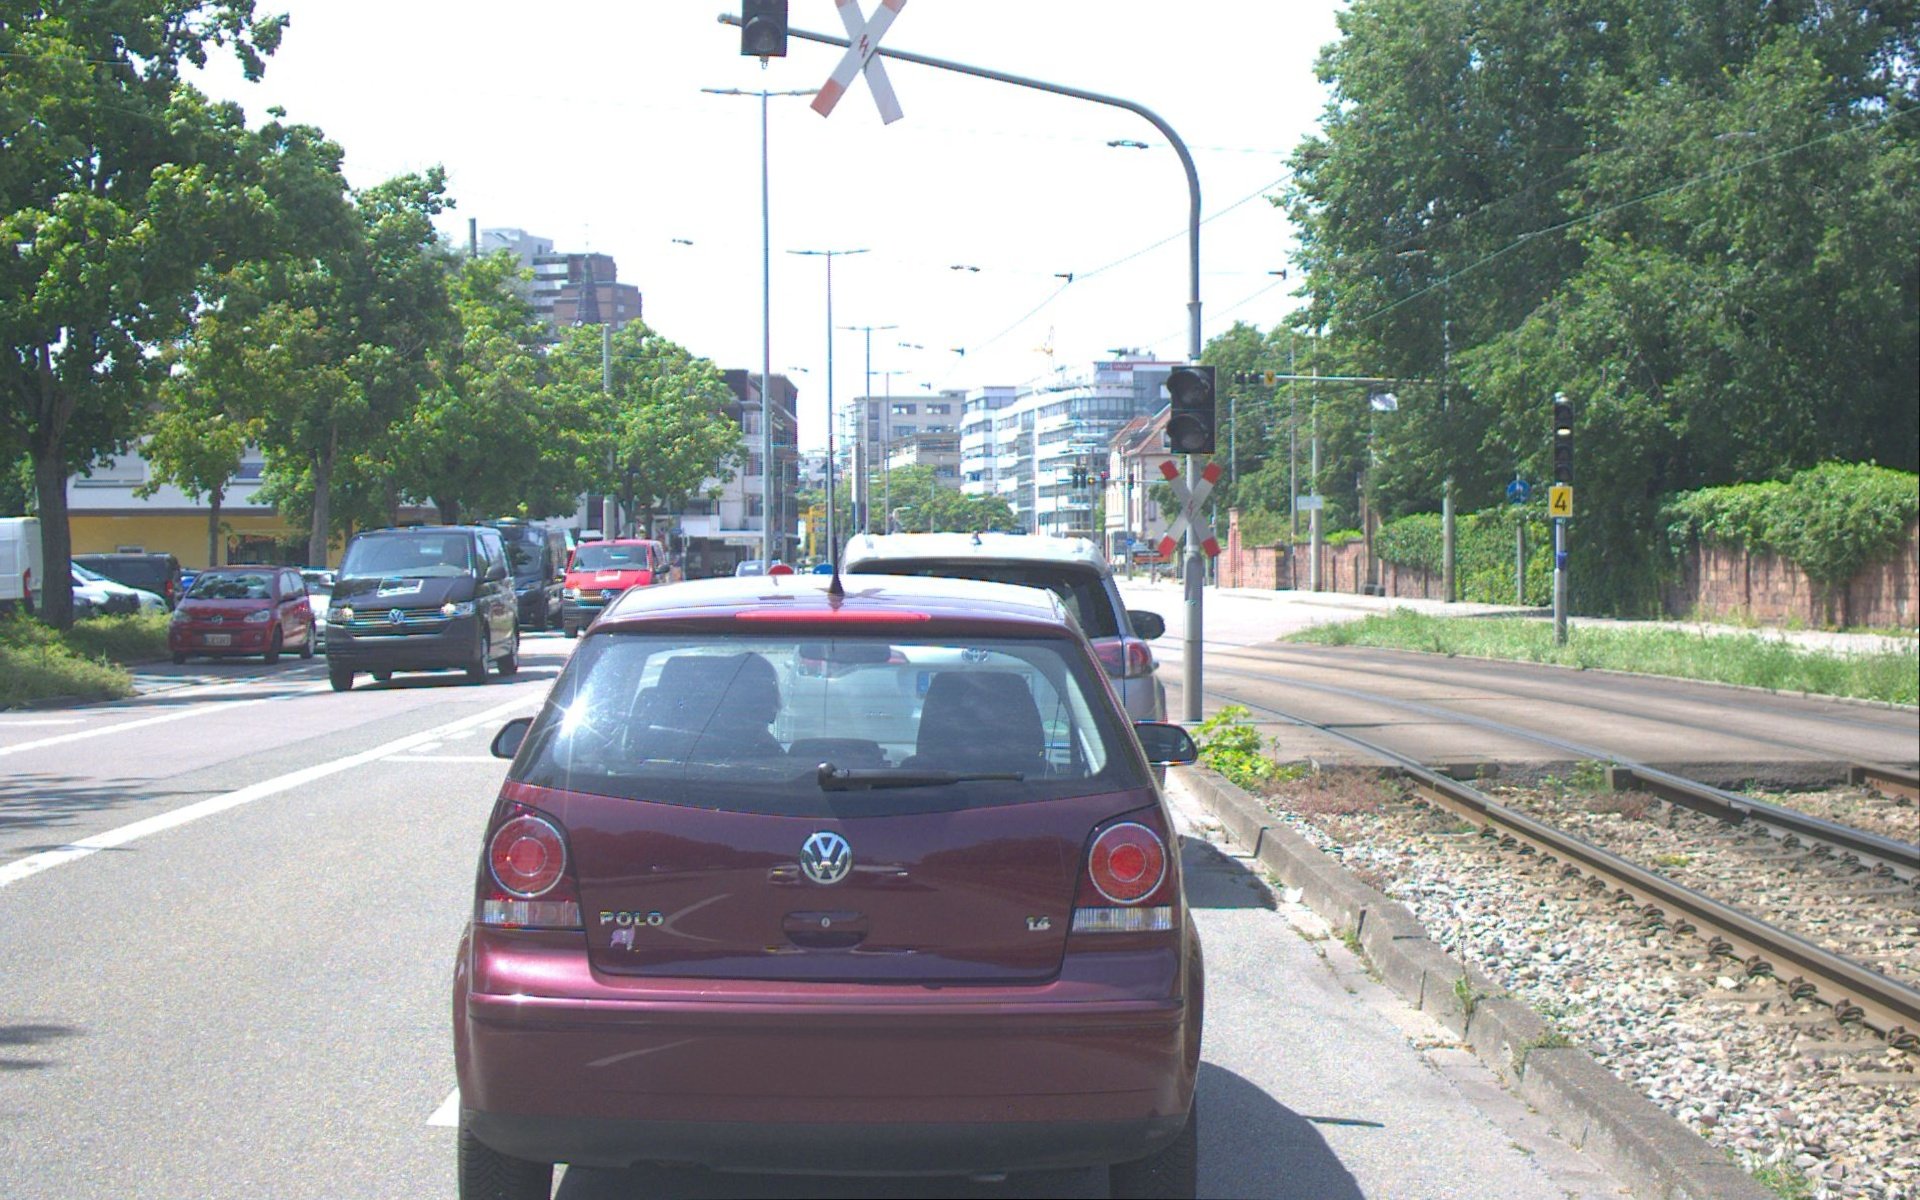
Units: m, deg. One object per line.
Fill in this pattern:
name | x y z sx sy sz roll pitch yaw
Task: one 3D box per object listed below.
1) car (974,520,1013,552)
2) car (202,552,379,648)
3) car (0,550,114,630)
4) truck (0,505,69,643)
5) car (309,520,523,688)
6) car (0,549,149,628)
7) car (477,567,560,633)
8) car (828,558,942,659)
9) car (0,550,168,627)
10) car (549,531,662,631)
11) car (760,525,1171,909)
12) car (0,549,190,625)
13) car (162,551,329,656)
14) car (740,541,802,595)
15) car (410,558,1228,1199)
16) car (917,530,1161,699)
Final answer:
car | 2.008 -3.821 206.367 1.918 1.904 4.572 -1 1 -5
car | -11.203 -0.027 57.827 1.719 1.422 4.771 -3 1 3
car | -21.576 -0.220 78.163 4.209 1.759 1.857 -1 1 -1
truck | -21.253 -0.507 69.933 5.578 2.750 2.432 -1 1 1
car | -6.626 0.007 42.313 1.918 1.904 4.571 -2 1 -1
car | -21.584 -0.267 80.618 4.718 1.807 1.797 -1 1 -1
car | -10.421 -0.021 81.376 1.405 1.435 3.840 3 1 0
car | -1.101 0.102 51.975 1.551 1.443 3.412 1 1 1
car | -21.765 -0.289 83.298 4.718 1.807 1.797 -1 1 -1
car | -7.144 -0.409 69.670 1.898 1.919 4.820 -2 1 -2
car | -0.069 0.490 17.190 1.795 1.677 4.001 1 1 -3
car | -21.738 -0.331 85.642 4.718 1.807 1.797 -1 1 -1
car | -10.970 0.044 52.986 1.672 1.541 3.726 1 0 2
car | -6.012 -1.023 109.454 1.737 1.651 4.067 -1 1 0
car | -0.308 0.656 8.833 1.609 1.493 4.000 1 1 -1
car | 0.881 0.111 35.566 1.775 1.625 3.998 1 1 12
